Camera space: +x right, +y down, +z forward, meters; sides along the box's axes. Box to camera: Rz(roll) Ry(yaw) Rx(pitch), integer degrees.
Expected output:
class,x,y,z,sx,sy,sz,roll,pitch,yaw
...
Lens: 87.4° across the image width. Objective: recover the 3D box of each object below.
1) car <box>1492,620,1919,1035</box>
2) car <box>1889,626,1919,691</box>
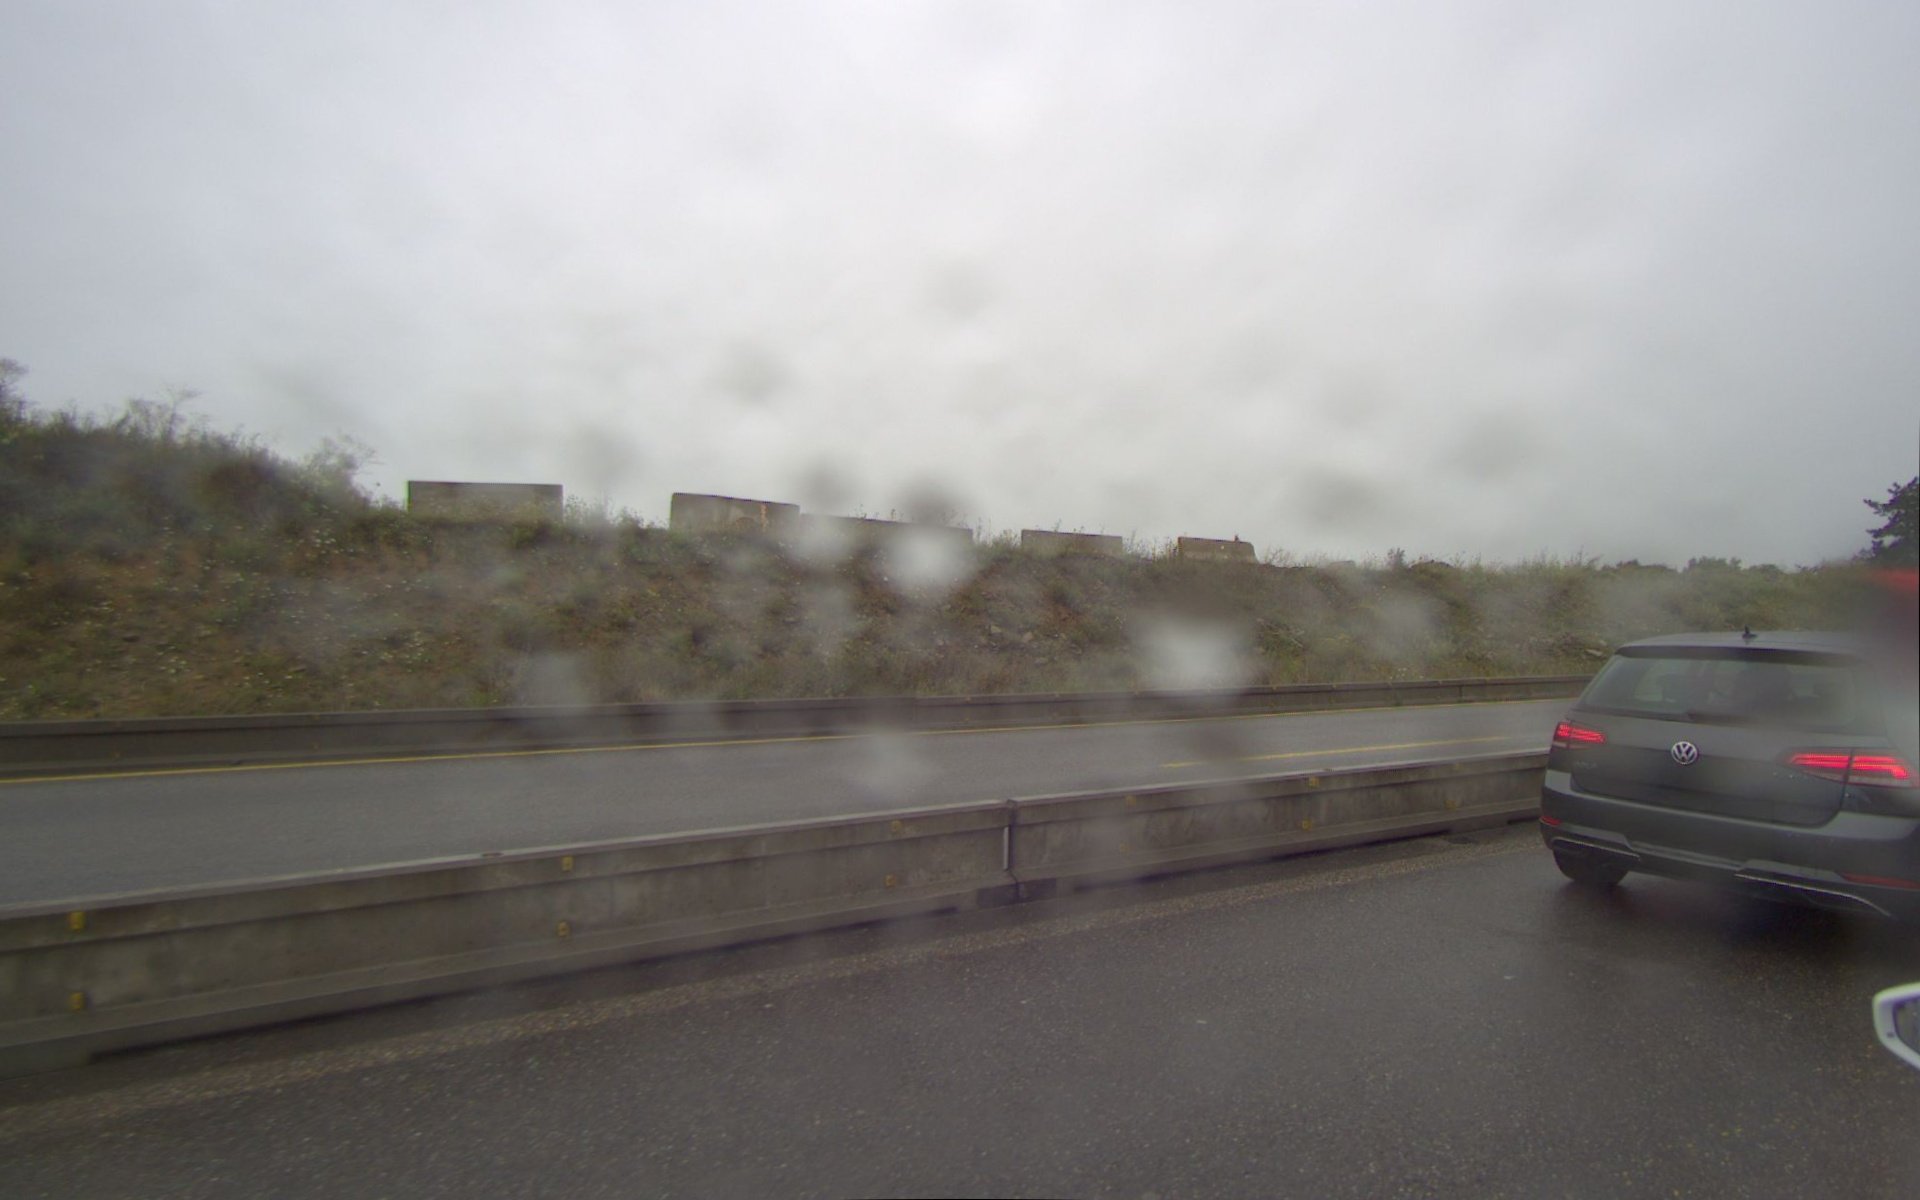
class,x,y,z,sx,sy,sz,roll,pitch,yaw
car,4.963,0.923,5.532,4.318,1.526,1.606,2,-3,-31
car,26.290,1.515,25.929,5.058,1.608,1.984,1,0,-30
